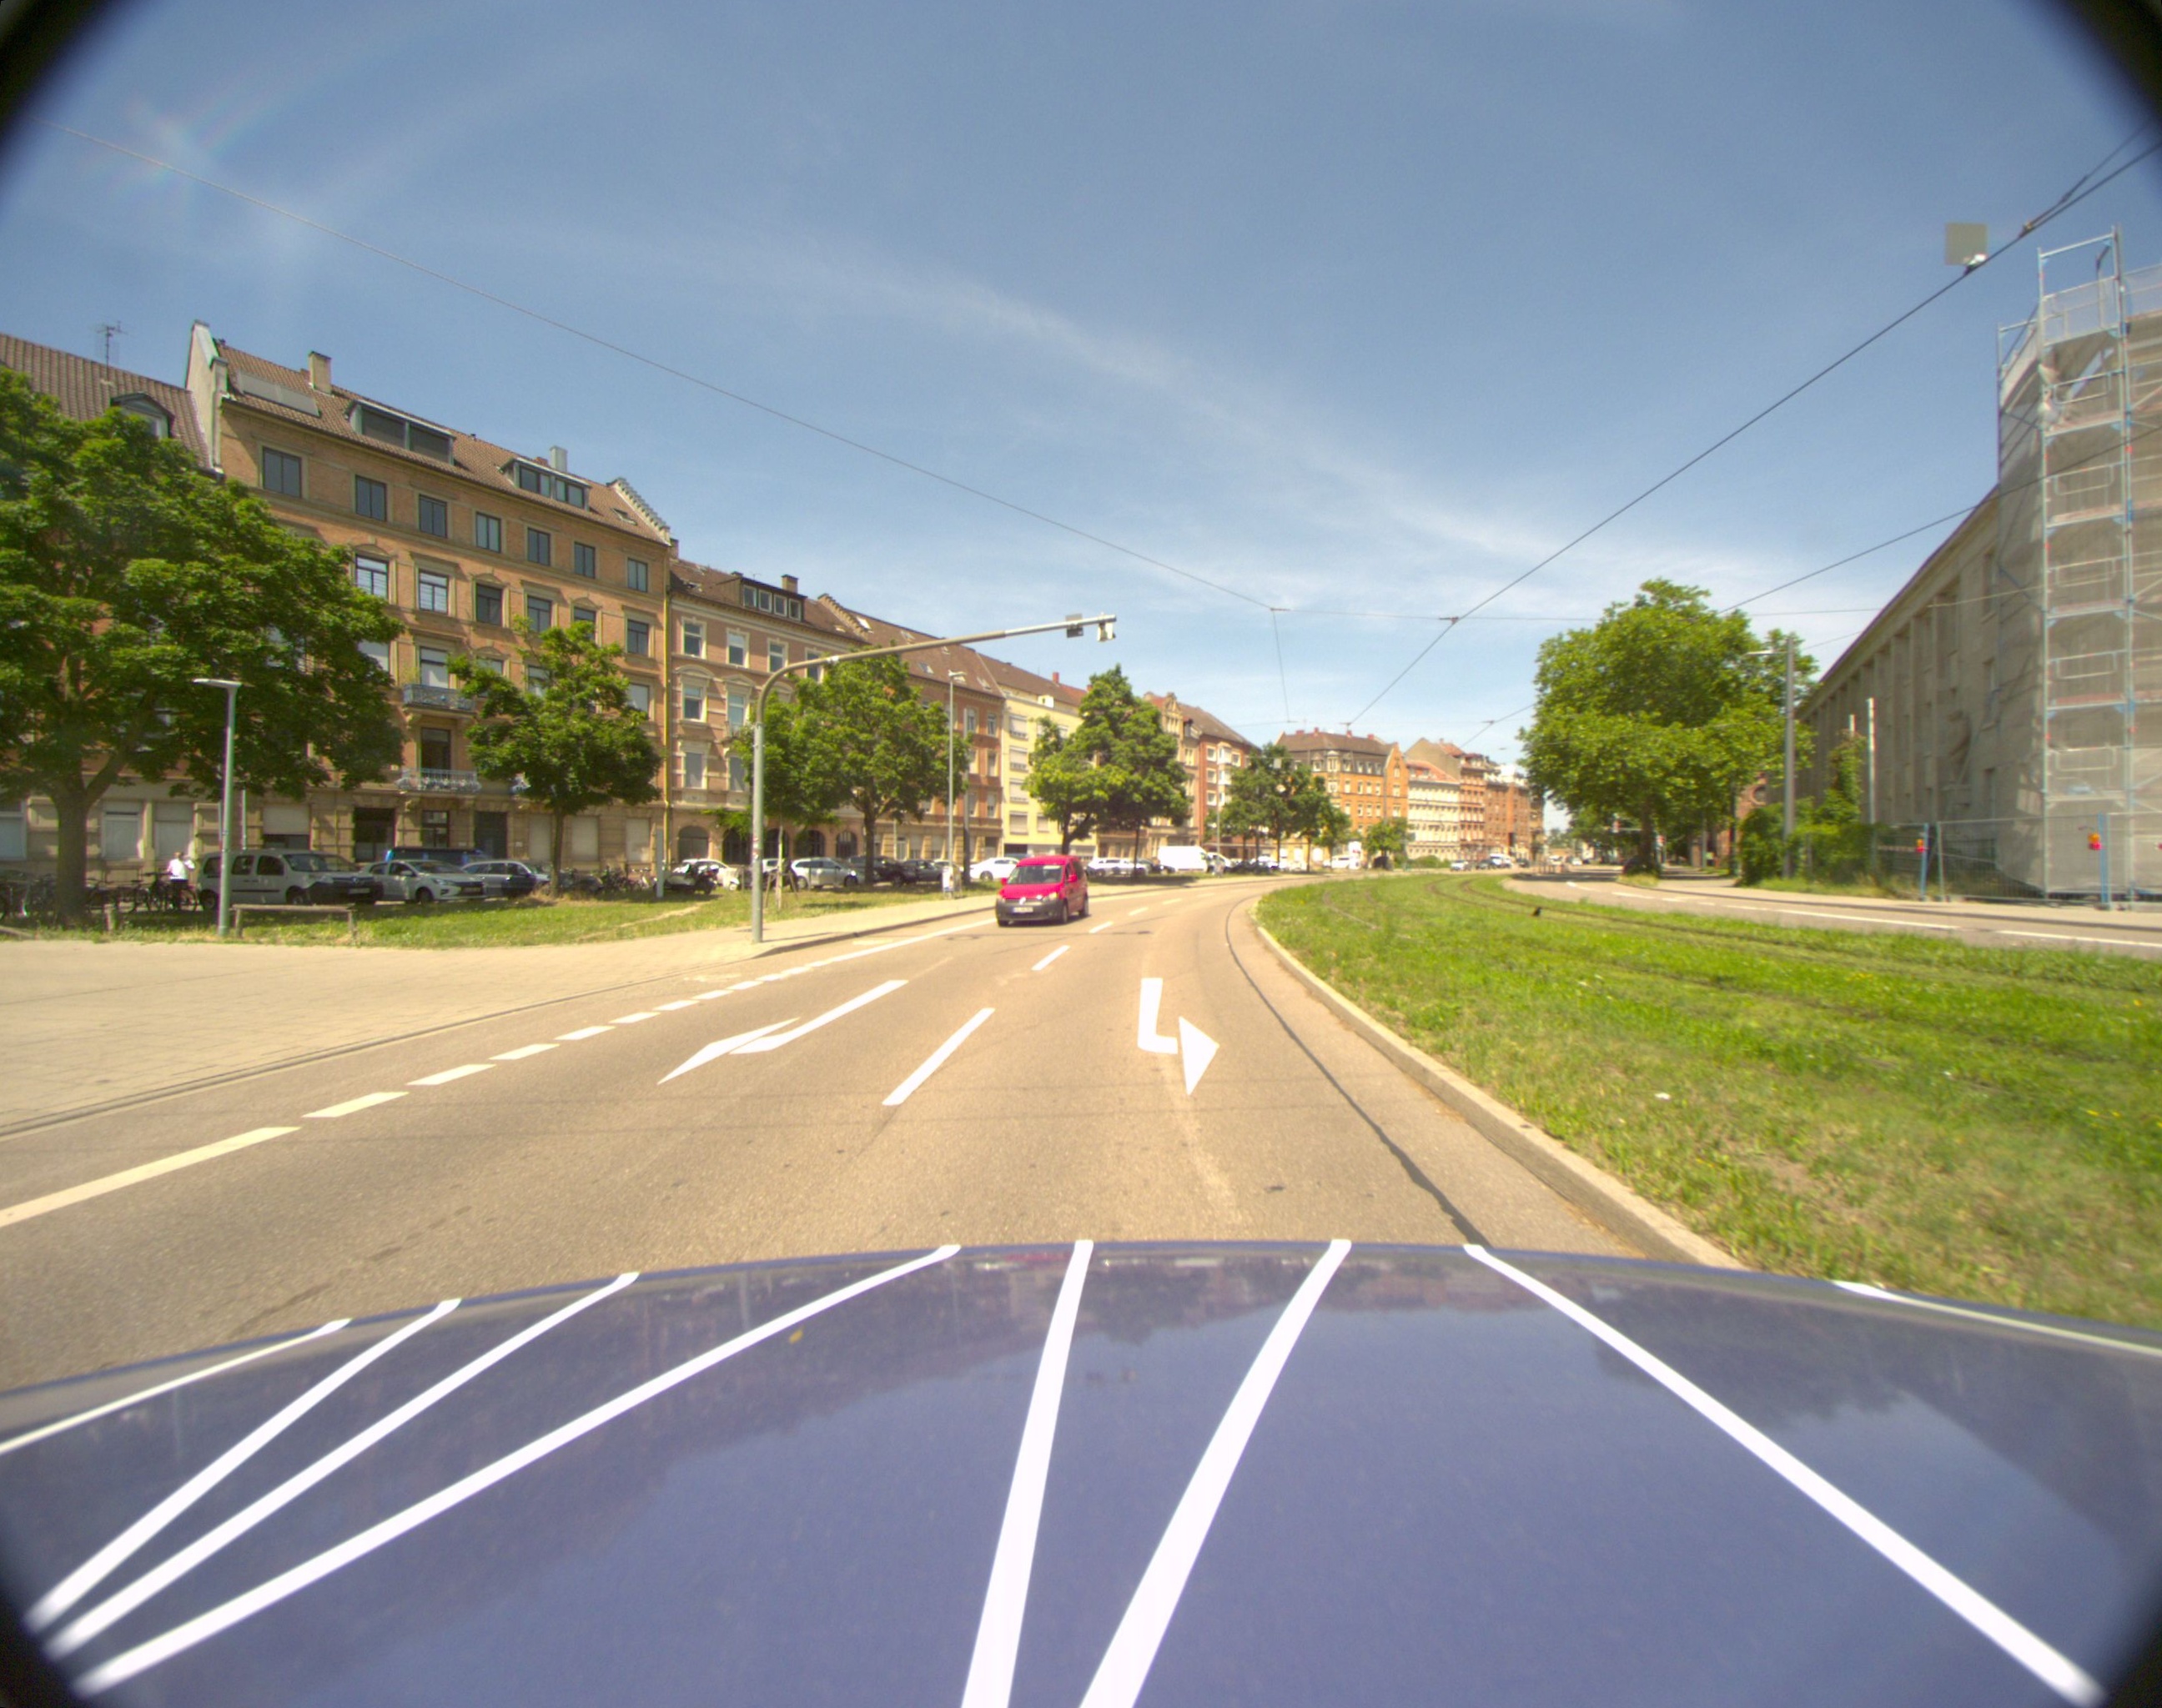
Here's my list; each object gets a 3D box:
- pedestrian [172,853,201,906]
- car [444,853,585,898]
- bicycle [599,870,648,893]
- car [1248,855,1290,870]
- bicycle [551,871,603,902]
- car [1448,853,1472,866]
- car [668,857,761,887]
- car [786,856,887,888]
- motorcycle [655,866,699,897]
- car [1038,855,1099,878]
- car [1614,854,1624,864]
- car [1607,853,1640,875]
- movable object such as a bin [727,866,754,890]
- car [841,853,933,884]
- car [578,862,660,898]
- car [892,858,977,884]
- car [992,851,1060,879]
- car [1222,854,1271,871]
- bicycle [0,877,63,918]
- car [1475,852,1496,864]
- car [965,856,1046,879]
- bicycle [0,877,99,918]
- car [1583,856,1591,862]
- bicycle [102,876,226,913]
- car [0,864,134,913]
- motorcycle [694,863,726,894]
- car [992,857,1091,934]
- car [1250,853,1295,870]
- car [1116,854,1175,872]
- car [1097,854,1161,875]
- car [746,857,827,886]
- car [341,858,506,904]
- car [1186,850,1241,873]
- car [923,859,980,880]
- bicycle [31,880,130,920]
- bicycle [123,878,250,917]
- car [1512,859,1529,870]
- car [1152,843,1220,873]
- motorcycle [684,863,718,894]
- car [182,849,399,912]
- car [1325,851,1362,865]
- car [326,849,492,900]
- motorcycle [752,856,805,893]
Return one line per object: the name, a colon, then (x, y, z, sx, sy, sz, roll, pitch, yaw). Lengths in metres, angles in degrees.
pedestrian: (-30.676, 0.868, 26.058, 0.452, 1.808, 0.604, -2, -1, 37)
car: (-19.449, 0.745, 26.147, 3.863, 1.424, 1.608, -1, -1, 8)
bicycle: (-16.802, 1.003, 27.903, 1.457, 0.800, 0.498, -1, -1, -19)
car: (18.835, 0.886, 76.108, 3.992, 1.391, 1.826, -2, -1, 16)
bicycle: (-16.212, 1.023, 24.458, 1.373, 0.941, 0.475, -1, -1, -32)
car: (46.808, 0.714, 93.724, 1.796, 1.564, 4.009, -2, -1, 38)
car: (-19.387, 0.938, 40.323, 1.837, 1.521, 4.009, -2, -1, 39)
car: (-11.597, 0.848, 36.110, 4.341, 1.368, 1.584, -2, -1, 11)
motorcycle: (-14.722, 1.011, 27.678, 1.823, 1.113, 0.529, -2, -1, 30)
car: (-0.814, 0.852, 51.475, 3.997, 1.392, 1.713, -1, -1, 1)
car: (128.180, 1.118, 181.009, 1.817, 2.283, 3.770, -2, -1, 34)
car: (36.277, 0.662, 50.885, 1.589, 1.415, 4.332, -2, -1, 33)
movable object such as a bin: (-13.570, 0.956, 30.293, 0.703, 0.931, 0.986, -1, -1, -41)
car: (-9.835, 0.744, 38.615, 4.086, 1.461, 1.800, -1, -1, 10)
car: (-18.848, 1.046, 30.949, 1.961, 1.368, 3.989, -1, -1, -45)
car: (-7.890, 0.907, 40.942, 3.992, 1.305, 1.975, -2, -1, 15)
car: (-3.536, 0.715, 49.451, 3.993, 1.652, 1.974, -2, -1, 11)
car: (16.111, 0.862, 73.913, 4.625, 1.488, 1.968, -2, -1, 13)
bicycle: (-25.025, 1.028, 17.759, 2.048, 0.930, 0.508, -1, -1, 7)
car: (54.959, 0.480, 103.200, 1.796, 1.564, 4.009, -2, -1, 38)
car: (-4.578, 0.834, 46.646, 4.786, 1.305, 2.149, -1, -1, -4)
bicycle: (-24.956, 1.055, 18.356, 2.048, 0.930, 0.508, -1, -1, 7)
car: (142.355, 1.405, 213.739, 1.747, 1.386, 4.356, -4, -2, 34)
bicycle: (-24.387, 1.073, 20.231, 2.427, 0.930, 0.508, 0, 0, -6)
car: (-31.923, 1.034, 22.988, 1.772, 1.411, 4.008, -2, -1, 36)
motorcycle: (-15.798, 1.030, 32.291, 0.814, 1.228, 2.080, -1, -1, -37)
car: (-0.937, 1.044, 21.006, 1.858, 1.823, 5.170, -1, -1, 6)
car: (19.905, 0.816, 78.947, 4.404, 1.622, 2.003, -2, -1, 15)
car: (4.993, 0.704, 59.539, 4.428, 1.330, 1.972, -1, -1, 0)
car: (3.538, 0.791, 56.557, 4.689, 1.419, 1.972, -1, -1, 1)
car: (-16.874, 0.987, 43.693, 1.837, 1.521, 4.008, -2, -1, 35)
car: (-20.597, 0.834, 23.859, 3.994, 1.324, 1.761, -2, -1, 10)
car: (11.946, 0.685, 68.748, 4.841, 1.961, 2.078, -1, -1, 8)
car: (-9.128, 1.069, 53.848, 1.780, 1.411, 3.724, -2, -1, 36)
bicycle: (-24.943, 1.149, 18.947, 2.048, 0.930, 0.508, -1, -1, 7)
bicycle: (-23.107, 1.114, 19.658, 2.427, 0.930, 0.508, -1, -1, -6)
car: (69.626, 1.660, 120.321, 1.796, 1.564, 4.008, -2, -1, 36)
car: (9.048, 0.371, 66.040, 5.547, 2.446, 2.238, -1, -1, 1)
motorcycle: (-14.180, 0.921, 28.342, 1.521, 1.113, 0.479, -2, -1, 37)
car: (-22.253, 0.743, 21.455, 4.867, 1.591, 1.838, -2, -1, 10)
car: (38.072, 0.550, 110.049, 4.842, 1.926, 2.171, -2, -1, 24)
car: (-26.748, 0.772, 30.393, 1.920, 1.892, 4.664, -2, -1, 37)
motorcycle: (-11.936, 0.777, 30.003, 0.675, 1.405, 1.860, 1, 1, 38)
